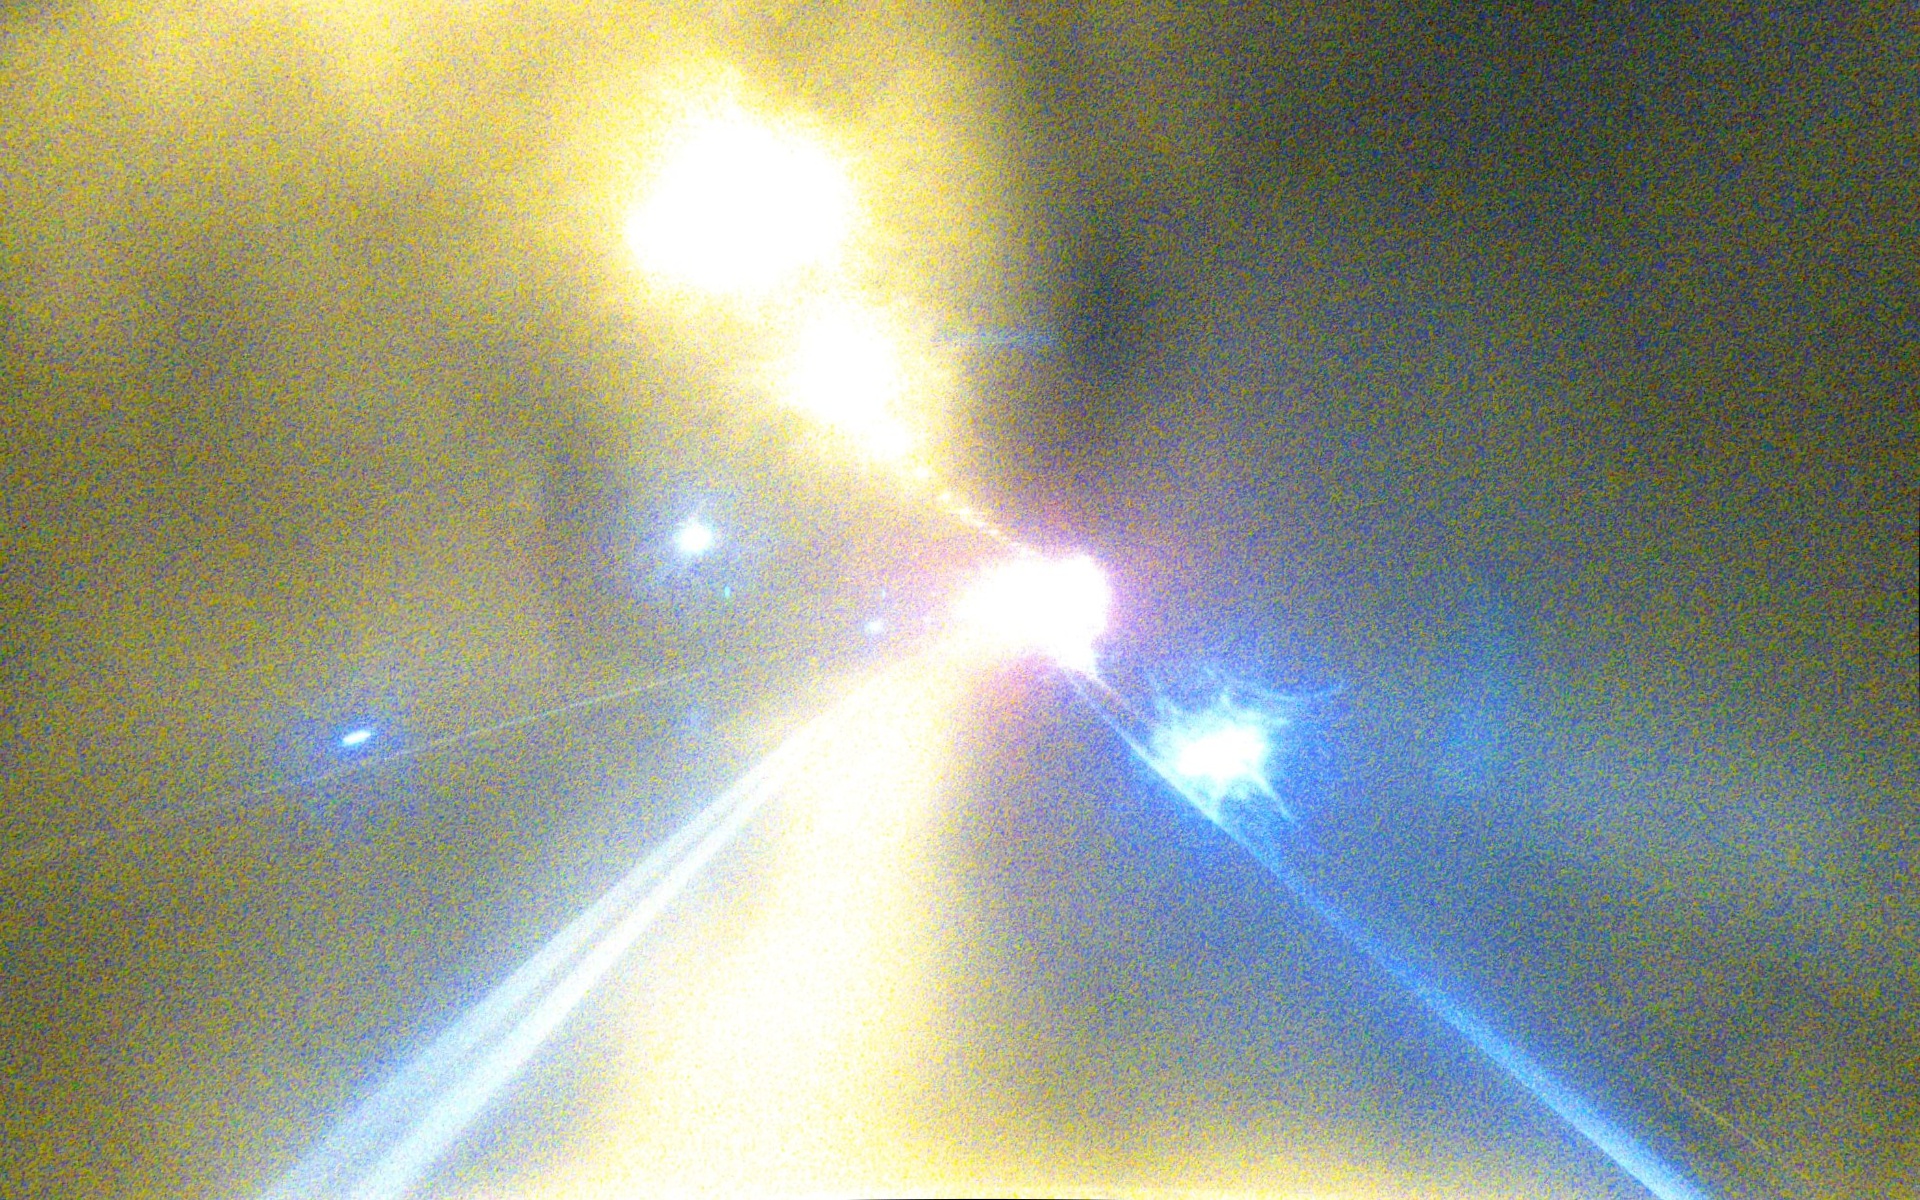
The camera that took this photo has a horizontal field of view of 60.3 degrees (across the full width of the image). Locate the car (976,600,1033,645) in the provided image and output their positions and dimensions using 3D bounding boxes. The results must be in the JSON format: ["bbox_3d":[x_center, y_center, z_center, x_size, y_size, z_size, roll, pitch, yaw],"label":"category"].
[{"bbox_3d":[1.811,0.874,65.759,2.045,1.691,4.002,1,0,4],"label":"car"}]
